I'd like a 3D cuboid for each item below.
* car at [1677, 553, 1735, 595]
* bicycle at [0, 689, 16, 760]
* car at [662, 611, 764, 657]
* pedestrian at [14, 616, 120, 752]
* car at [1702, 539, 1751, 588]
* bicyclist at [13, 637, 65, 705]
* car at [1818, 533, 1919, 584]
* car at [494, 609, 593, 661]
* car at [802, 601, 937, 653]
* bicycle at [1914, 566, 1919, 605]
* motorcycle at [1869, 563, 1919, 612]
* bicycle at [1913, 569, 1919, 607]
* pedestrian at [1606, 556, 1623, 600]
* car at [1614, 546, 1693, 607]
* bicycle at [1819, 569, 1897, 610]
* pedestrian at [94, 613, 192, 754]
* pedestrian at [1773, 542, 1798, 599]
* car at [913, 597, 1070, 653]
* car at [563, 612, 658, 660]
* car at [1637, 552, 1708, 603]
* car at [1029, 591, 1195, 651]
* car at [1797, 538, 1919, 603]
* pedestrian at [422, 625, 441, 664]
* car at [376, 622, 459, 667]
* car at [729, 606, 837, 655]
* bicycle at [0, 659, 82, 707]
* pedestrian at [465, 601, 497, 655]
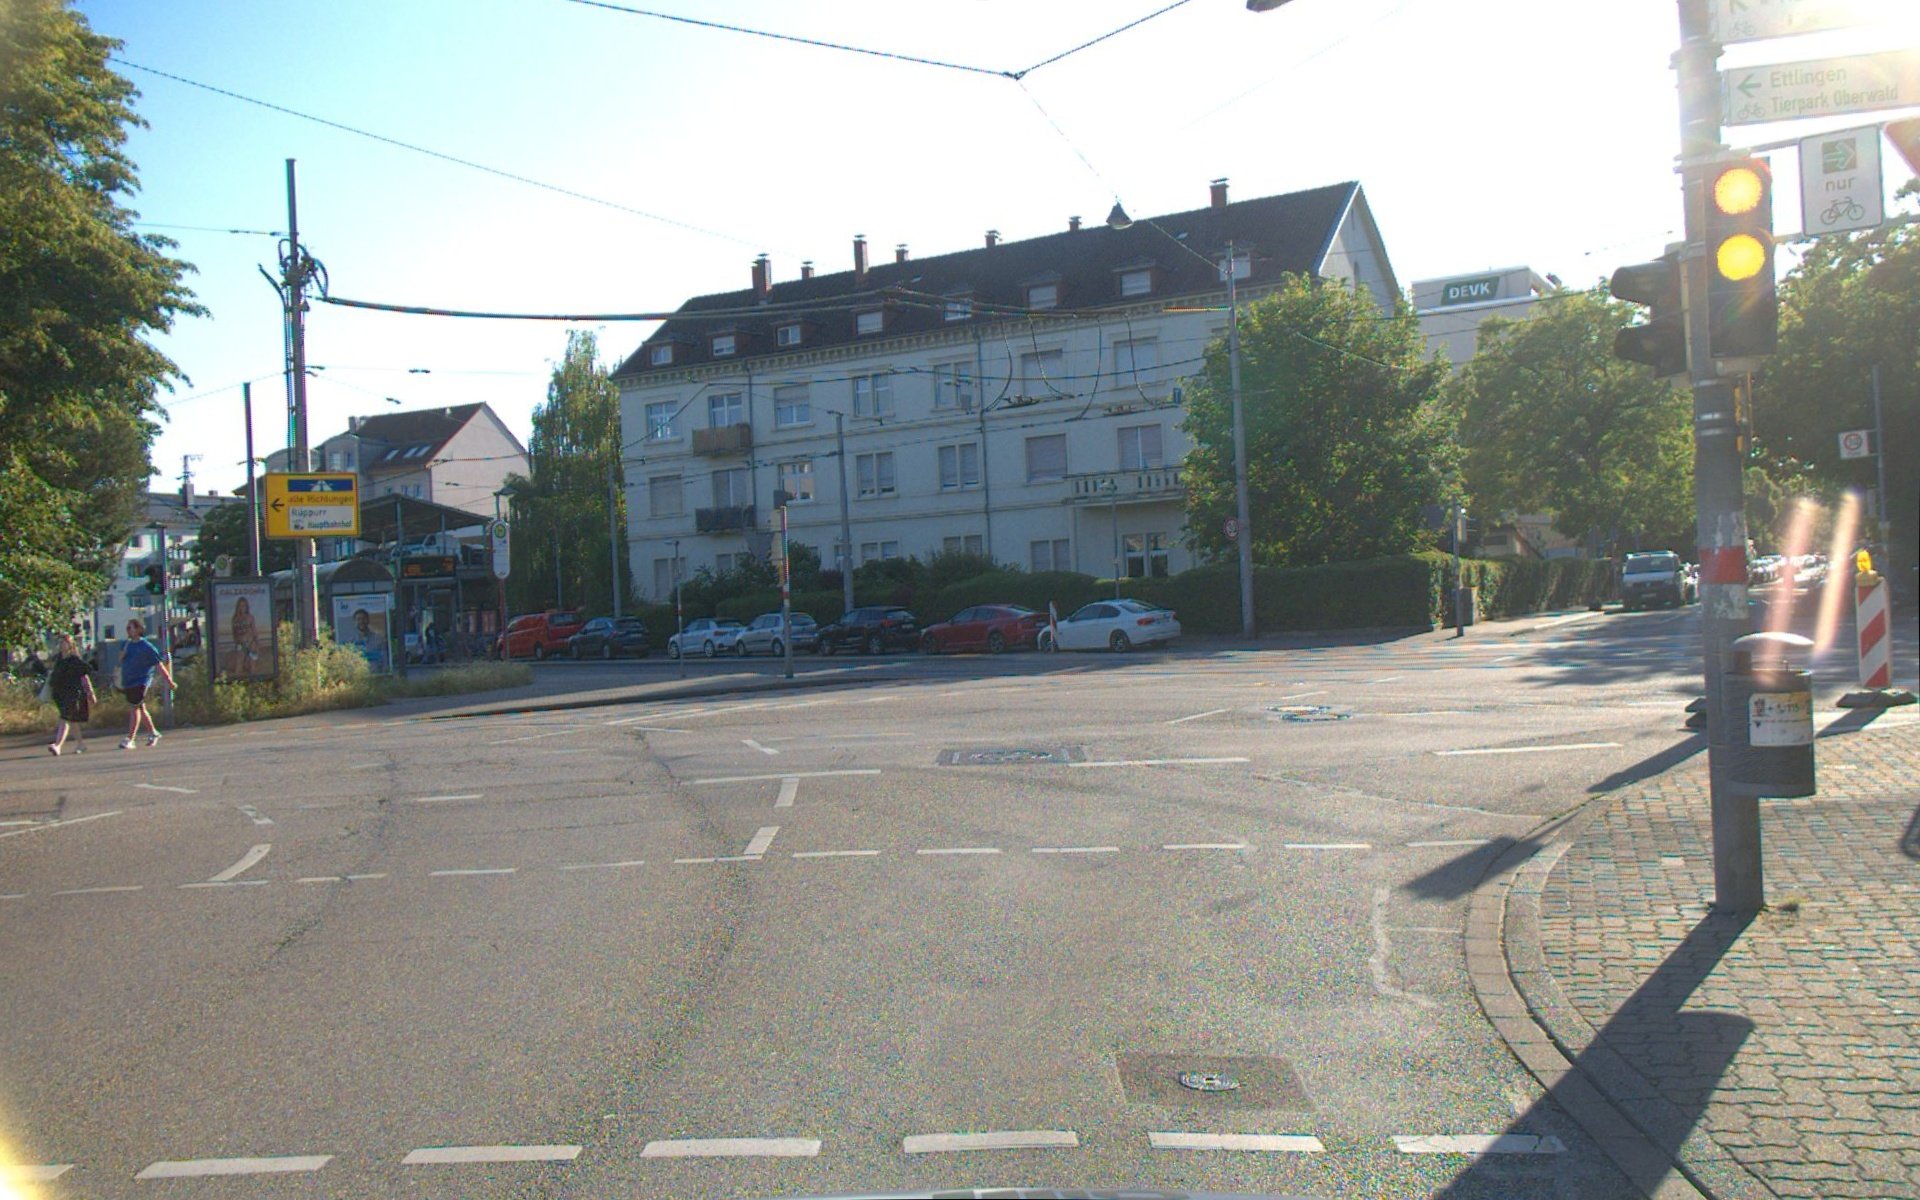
[{"bbox_3d":[35.647,-1.249,78.976,2.308,1.826,5.306,-3,0,26],"label":"car"},{"bbox_3d":[-16.215,2.038,26.261,1.979,1.087,0.661,-3,0,-14],"label":"bicycle"},{"bbox_3d":[-9.170,1.275,61.219,1.830,1.472,3.899,-6,2,-41],"label":"car"},{"bbox_3d":[-12.346,1.141,22.906,0.895,1.777,1.066,-3,0,-8],"label":"pedestrian"},{"bbox_3d":[43.118,-2.034,92.947,2.308,2.558,5.305,-3,0,26],"label":"car"},{"bbox_3d":[-23.607,1.819,42.400,0.654,1.681,0.887,-3,0,18],"label":"bicyclist"},{"bbox_3d":[40.821,-1.828,73.123,4.990,1.958,2.360,-3,-2,26],"label":"car"},{"bbox_3d":[-18.158,1.523,71.956,2.039,1.995,5.073,-6,2,-41],"label":"car"},{"bbox_3d":[-3.027,0.913,54.577,1.970,1.472,4.634,-6,2,-41],"label":"car"},{"bbox_3d":[24.375,-0.398,40.507,1.691,0.949,0.561,-3,0,29],"label":"bicycle"},{"bbox_3d":[22.937,-0.328,39.597,1.912,1.128,0.837,-3,0,24],"label":"motorcycle"},{"bbox_3d":[24.735,-0.343,41.186,1.691,0.949,0.561,-3,0,29],"label":"bicycle"},{"bbox_3d":[26.605,-0.909,67.201,0.567,1.761,0.608,-3,0,23],"label":"pedestrian"},{"bbox_3d":[25.352,-0.869,60.339,2.308,2.049,5.306,-3,0,26],"label":"car"},{"bbox_3d":[22.777,-0.261,41.986,1.691,0.949,0.671,-3,0,29],"label":"bicycle"},{"bbox_3d":[-11.896,1.187,24.111,0.895,1.958,1.066,-3,0,-8],"label":"pedestrian"},{"bbox_3d":[27.692,-0.993,55.462,0.648,1.871,0.682,-3,0,28],"label":"pedestrian"},{"bbox_3d":[0.917,0.770,50.129,4.625,1.400,1.974,-3,2,44],"label":"car"},{"bbox_3d":[-14.188,1.480,66.977,1.830,1.696,4.304,-6,2,-41],"label":"car"},{"bbox_3d":[28.353,-0.918,65.765,2.308,1.826,5.306,-3,0,26],"label":"car"},{"bbox_3d":[4.202,0.593,46.186,1.916,1.400,4.426,-6,2,-43],"label":"car"},{"bbox_3d":[31.346,-1.017,55.674,5.510,1.958,2.360,-3,-2,26],"label":"car"},{"bbox_3d":[-21.140,1.792,66.138,0.560,1.527,0.672,-3,0,-29],"label":"pedestrian"},{"bbox_3d":[-27.185,2.234,82.793,2.039,1.995,5.073,-6,2,-41],"label":"car"},{"bbox_3d":[-6.207,1.087,57.773,1.970,1.472,3.663,-6,2,-41],"label":"car"},{"bbox_3d":[-23.626,2.117,42.426,0.647,1.087,2.020,-3,0,19],"label":"bicycle"},{"bbox_3d":[-18.854,1.114,65.114,0.914,2.049,0.759,-3,-1,-37],"label":"pedestrian"}]
